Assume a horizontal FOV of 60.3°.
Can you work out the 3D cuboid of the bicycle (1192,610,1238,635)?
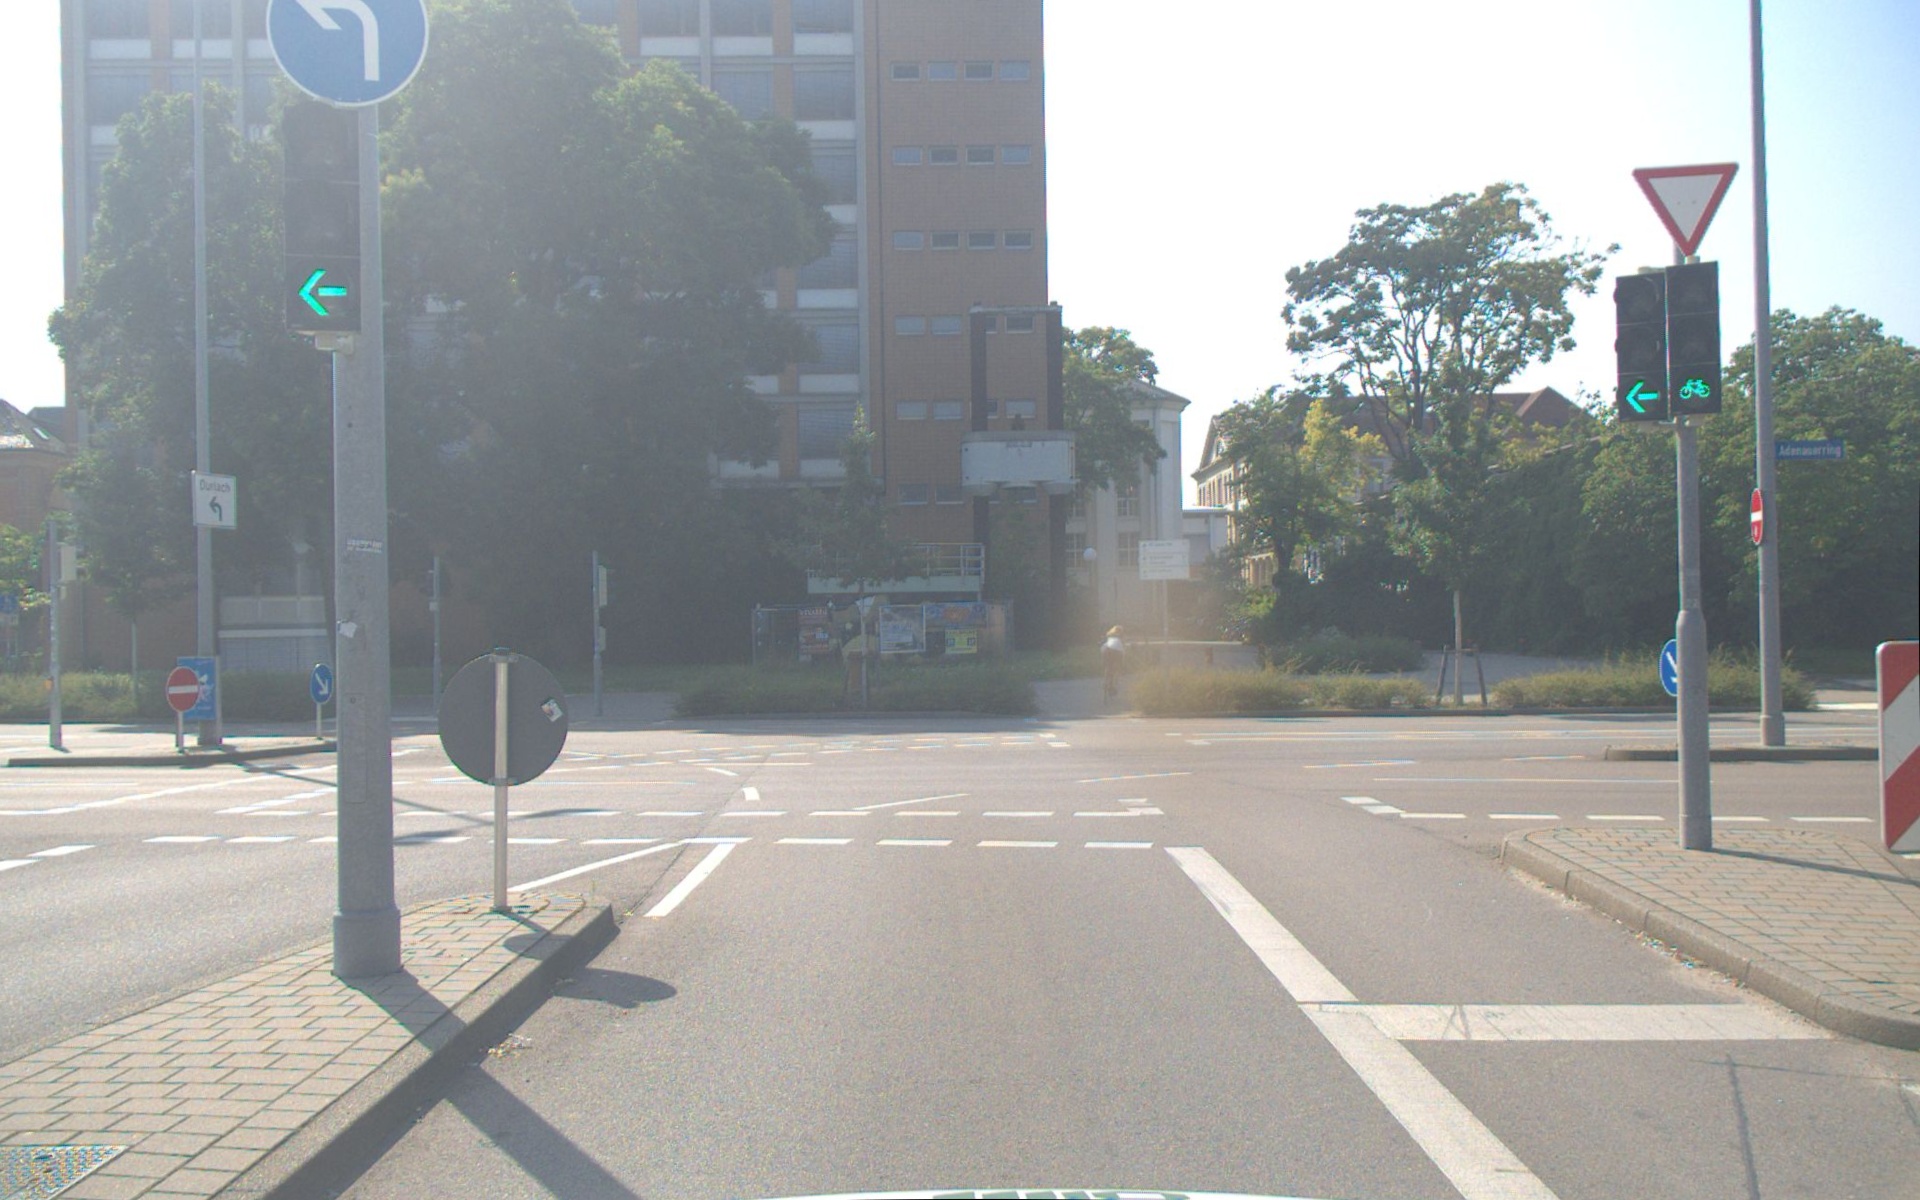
[{"bbox_3d":[13.618,1.203,88.394,2.376,1.304,0.720,1,-1,4],"label":"bicycle"}]

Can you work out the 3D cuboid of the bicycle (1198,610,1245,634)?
[{"bbox_3d":[13.711,1.158,86.807,2.376,1.250,0.720,1,-1,4],"label":"bicycle"}]

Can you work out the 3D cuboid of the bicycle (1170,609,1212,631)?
[{"bbox_3d":[13.463,1.176,96.498,2.376,1.285,0.720,1,-1,4],"label":"bicycle"}]

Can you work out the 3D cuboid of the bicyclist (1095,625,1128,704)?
[{"bbox_3d":[3.224,1.355,35.098,0.636,1.629,0.920,-1,-1,7],"label":"bicyclist"}]

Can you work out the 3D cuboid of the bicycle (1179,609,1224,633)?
[{"bbox_3d":[13.079,1.127,89.625,2.376,1.304,0.720,1,-1,4],"label":"bicycle"}]

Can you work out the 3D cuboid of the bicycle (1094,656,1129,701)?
[{"bbox_3d":[3.216,1.651,34.983,0.659,0.895,1.402,-1,0,8],"label":"bicycle"}]

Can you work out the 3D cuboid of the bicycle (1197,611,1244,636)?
[{"bbox_3d":[13.502,1.197,85.767,2.376,1.261,0.720,1,-1,4],"label":"bicycle"}]

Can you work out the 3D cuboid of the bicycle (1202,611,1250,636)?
[{"bbox_3d":[13.636,1.189,84.824,2.376,1.256,0.720,1,-1,4],"label":"bicycle"}]

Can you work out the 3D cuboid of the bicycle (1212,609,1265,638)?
[{"bbox_3d":[13.139,1.096,78.025,2.376,1.341,0.720,1,-1,4],"label":"bicycle"}]

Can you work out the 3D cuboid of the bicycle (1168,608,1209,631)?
[{"bbox_3d":[13.444,1.144,97.418,2.376,1.303,0.720,1,-1,4],"label":"bicycle"}]

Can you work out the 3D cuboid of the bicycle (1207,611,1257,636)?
[{"bbox_3d":[13.409,1.159,81.695,2.376,1.245,0.720,1,-1,4],"label":"bicycle"}]

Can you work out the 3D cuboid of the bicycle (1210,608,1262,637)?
[{"bbox_3d":[13.205,1.083,79.160,2.376,1.341,0.720,1,-1,4],"label":"bicycle"}]
